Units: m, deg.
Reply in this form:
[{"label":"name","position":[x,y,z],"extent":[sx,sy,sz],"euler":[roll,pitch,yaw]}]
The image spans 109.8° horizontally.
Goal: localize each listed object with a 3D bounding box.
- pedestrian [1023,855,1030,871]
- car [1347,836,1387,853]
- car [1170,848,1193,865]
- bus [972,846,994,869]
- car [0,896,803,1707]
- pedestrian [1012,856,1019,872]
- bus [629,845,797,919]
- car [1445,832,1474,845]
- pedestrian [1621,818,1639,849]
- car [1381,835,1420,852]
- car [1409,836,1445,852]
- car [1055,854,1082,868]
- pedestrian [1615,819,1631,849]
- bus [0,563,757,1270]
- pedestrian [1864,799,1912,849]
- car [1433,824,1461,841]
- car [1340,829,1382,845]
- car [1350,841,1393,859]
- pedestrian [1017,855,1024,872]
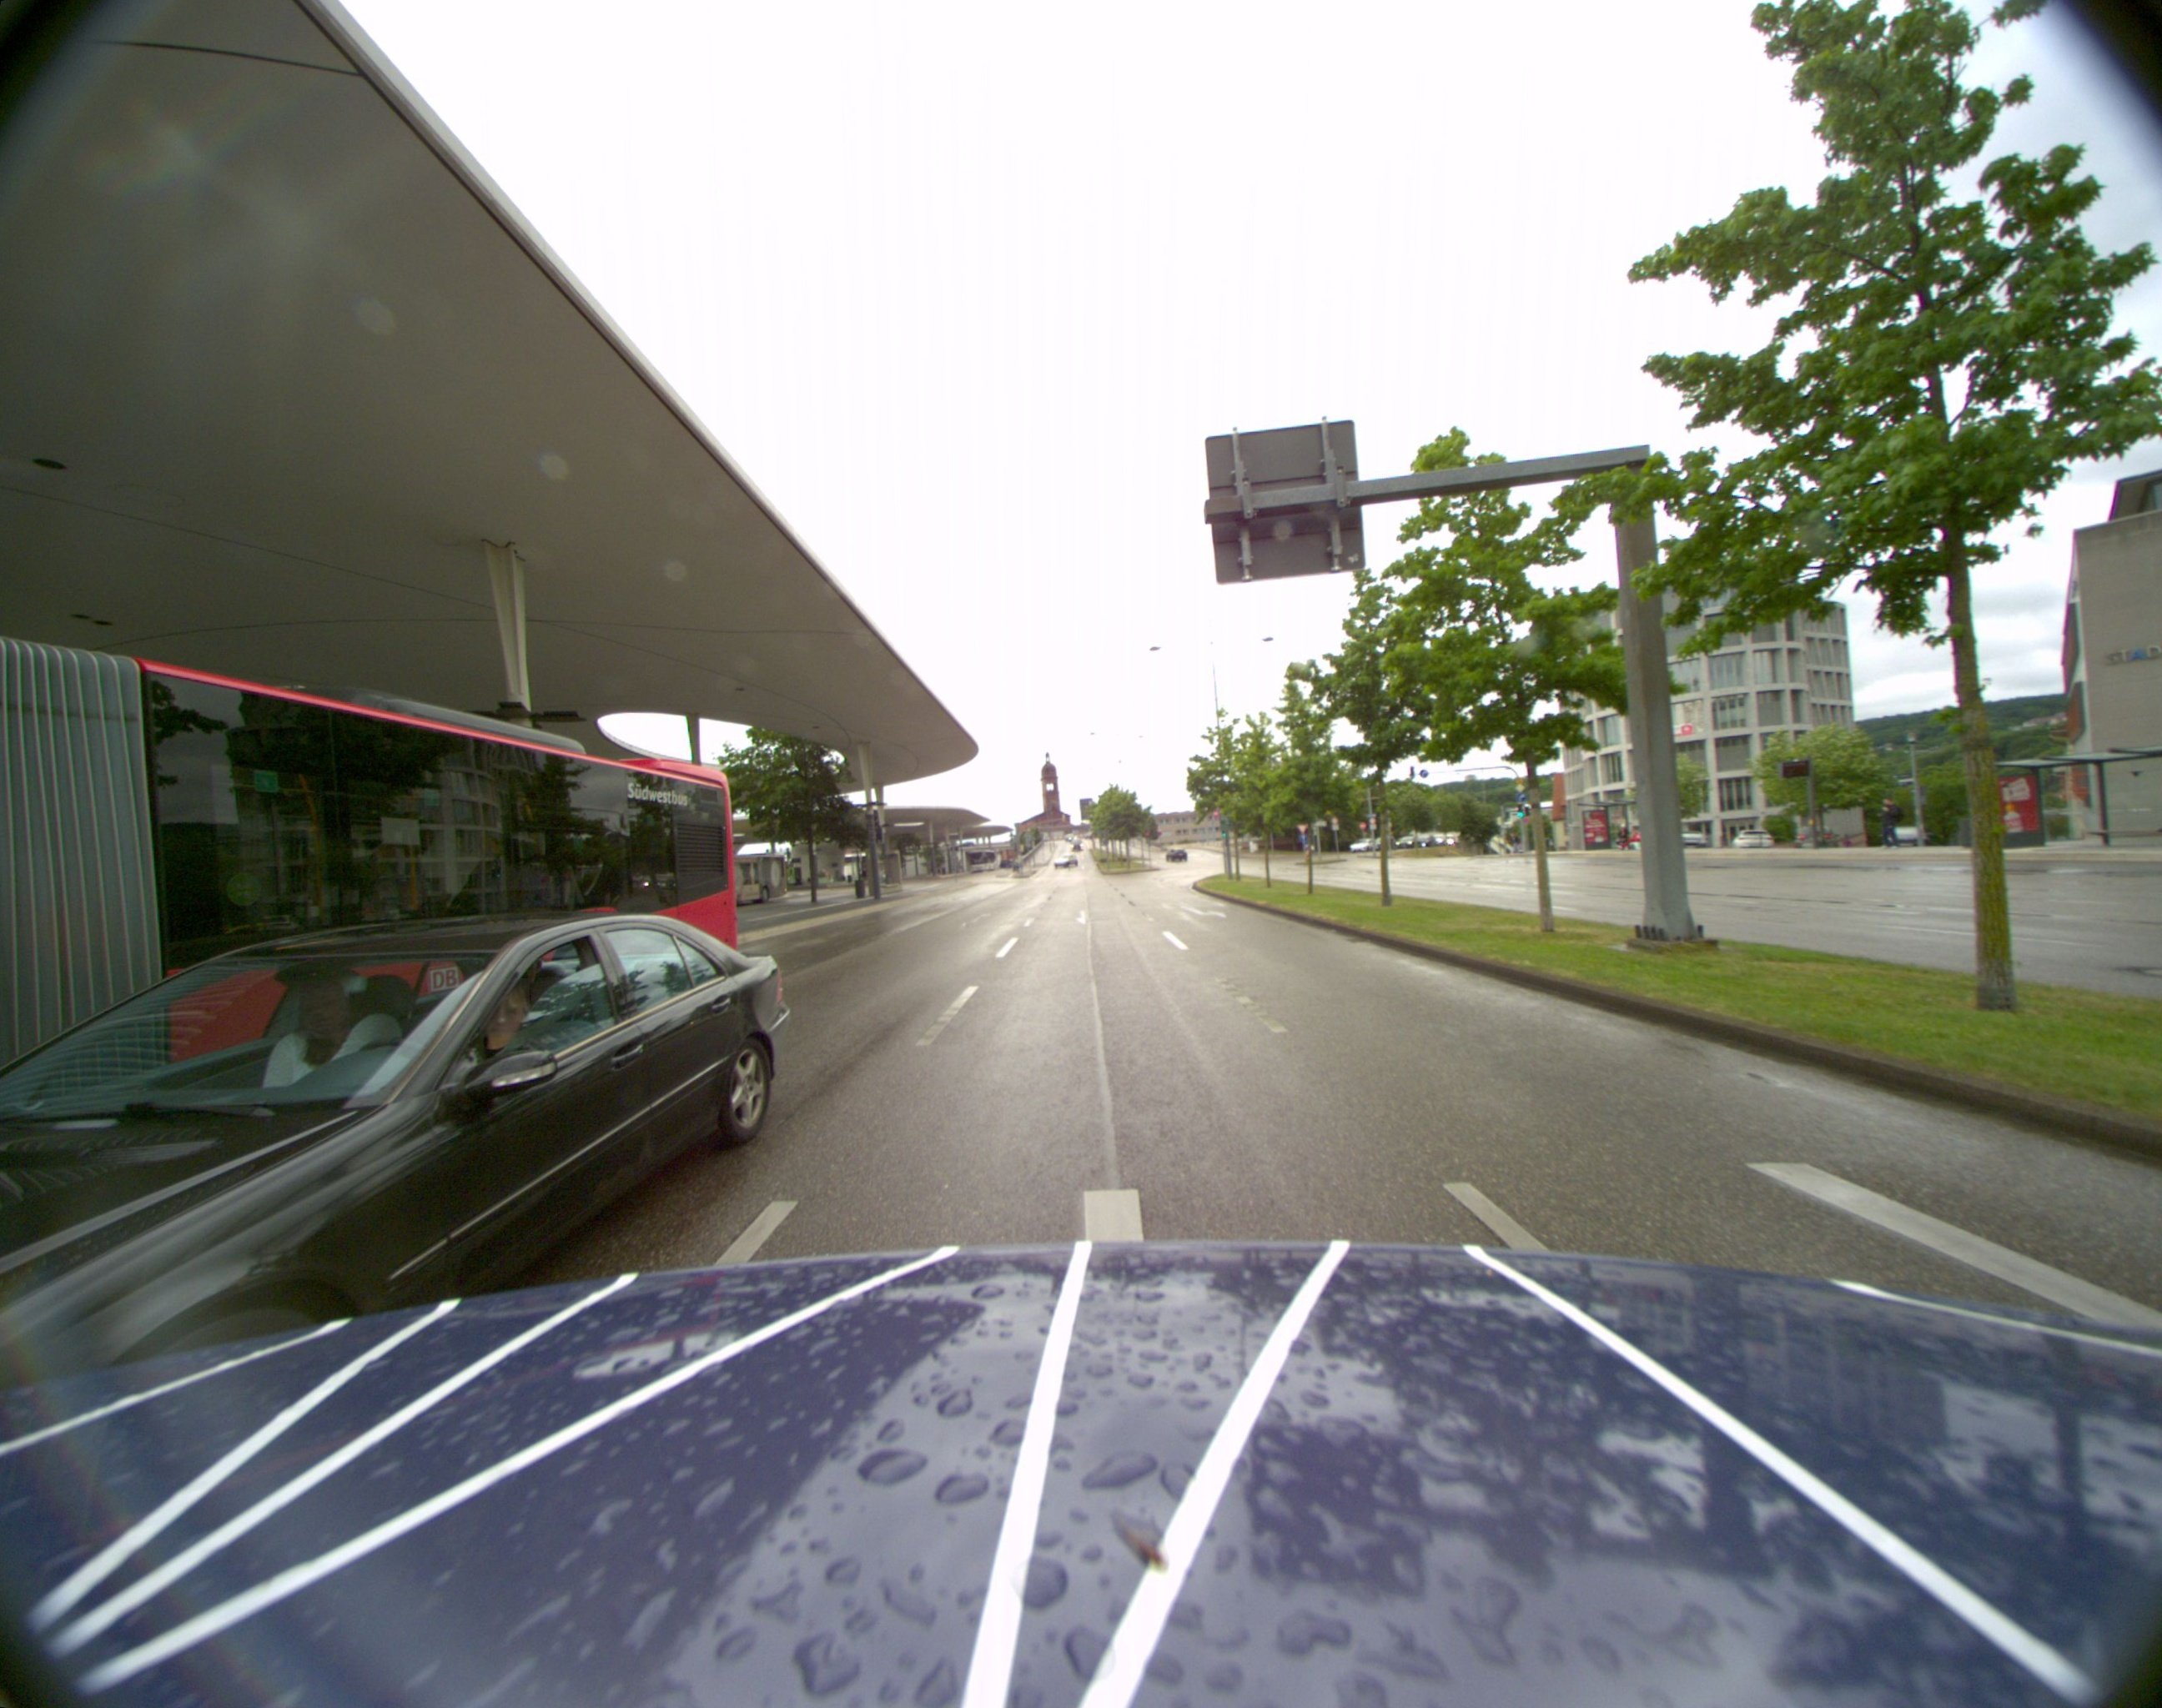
[{"label":"pedestrian","position":[-5.492,0.923,76.836],"extent":[0.557,1.614,0.552],"euler":[-3,1,1]},{"label":"car","position":[32.235,-1.072,85.631],"extent":[4.925,1.702,2.190],"euler":[-3,0,-42]},{"label":"car","position":[11.381,0.250,86.483],"extent":[1.998,1.765,4.000],"euler":[-3,0,1]},{"label":"bus","position":[-14.387,0.515,112.537],"extent":[2.675,3.111,9.712],"euler":[-3,0,-5]},{"label":"car","position":[-2.787,1.095,2.955],"extent":[1.750,1.471,4.434],"euler":[-4,0,-1]},{"label":"pedestrian","position":[-6.656,1.005,76.991],"extent":[0.576,1.614,0.588],"euler":[-3,1,1]},{"label":"bus","position":[-19.738,1.350,42.155],"extent":[3.003,3.088,12.354],"euler":[-9,0,-1]},{"label":"car","position":[51.167,-2.071,102.734],"extent":[2.193,1.702,4.920],"euler":[-3,0,11]},{"label":"pedestrian","position":[30.017,-1.111,41.551],"extent":[0.520,1.625,0.536],"euler":[-3,1,1]},{"label":"car","position":[36.142,-1.227,85.969],"extent":[4.925,1.702,2.190],"euler":[-3,0,-43]},{"label":"car","position":[42.085,-1.188,92.447],"extent":[4.925,1.702,2.190],"euler":[-3,0,-43]},{"label":"car","position":[-1.398,0.814,86.372],"extent":[1.625,1.450,3.741],"euler":[-3,0,22]},{"label":"pedestrian","position":[29.469,-1.084,41.317],"extent":[0.504,1.625,0.502],"euler":[-3,1,1]},{"label":"bus","position":[-6.165,0.314,6.872],"extent":[2.750,3.155,8.120],"euler":[-3,0,1]},{"label":"pedestrian","position":[29.104,-1.079,27.409],"extent":[0.787,1.750,0.972],"euler":[-3,1,-28]},{"label":"car","position":[46.803,-2.691,97.037],"extent":[1.995,2.002,4.008],"euler":[-2,0,44]},{"label":"car","position":[39.608,-2.402,107.419],"extent":[2.315,2.002,5.021],"euler":[-3,0,-41]},{"label":"car","position":[30.722,-0.429,80.329],"extent":[4.925,1.702,2.190],"euler":[-3,0,-43]},{"label":"pedestrian","position":[-6.105,0.949,76.959],"extent":[0.557,1.614,0.552],"euler":[-3,1,1]}]
